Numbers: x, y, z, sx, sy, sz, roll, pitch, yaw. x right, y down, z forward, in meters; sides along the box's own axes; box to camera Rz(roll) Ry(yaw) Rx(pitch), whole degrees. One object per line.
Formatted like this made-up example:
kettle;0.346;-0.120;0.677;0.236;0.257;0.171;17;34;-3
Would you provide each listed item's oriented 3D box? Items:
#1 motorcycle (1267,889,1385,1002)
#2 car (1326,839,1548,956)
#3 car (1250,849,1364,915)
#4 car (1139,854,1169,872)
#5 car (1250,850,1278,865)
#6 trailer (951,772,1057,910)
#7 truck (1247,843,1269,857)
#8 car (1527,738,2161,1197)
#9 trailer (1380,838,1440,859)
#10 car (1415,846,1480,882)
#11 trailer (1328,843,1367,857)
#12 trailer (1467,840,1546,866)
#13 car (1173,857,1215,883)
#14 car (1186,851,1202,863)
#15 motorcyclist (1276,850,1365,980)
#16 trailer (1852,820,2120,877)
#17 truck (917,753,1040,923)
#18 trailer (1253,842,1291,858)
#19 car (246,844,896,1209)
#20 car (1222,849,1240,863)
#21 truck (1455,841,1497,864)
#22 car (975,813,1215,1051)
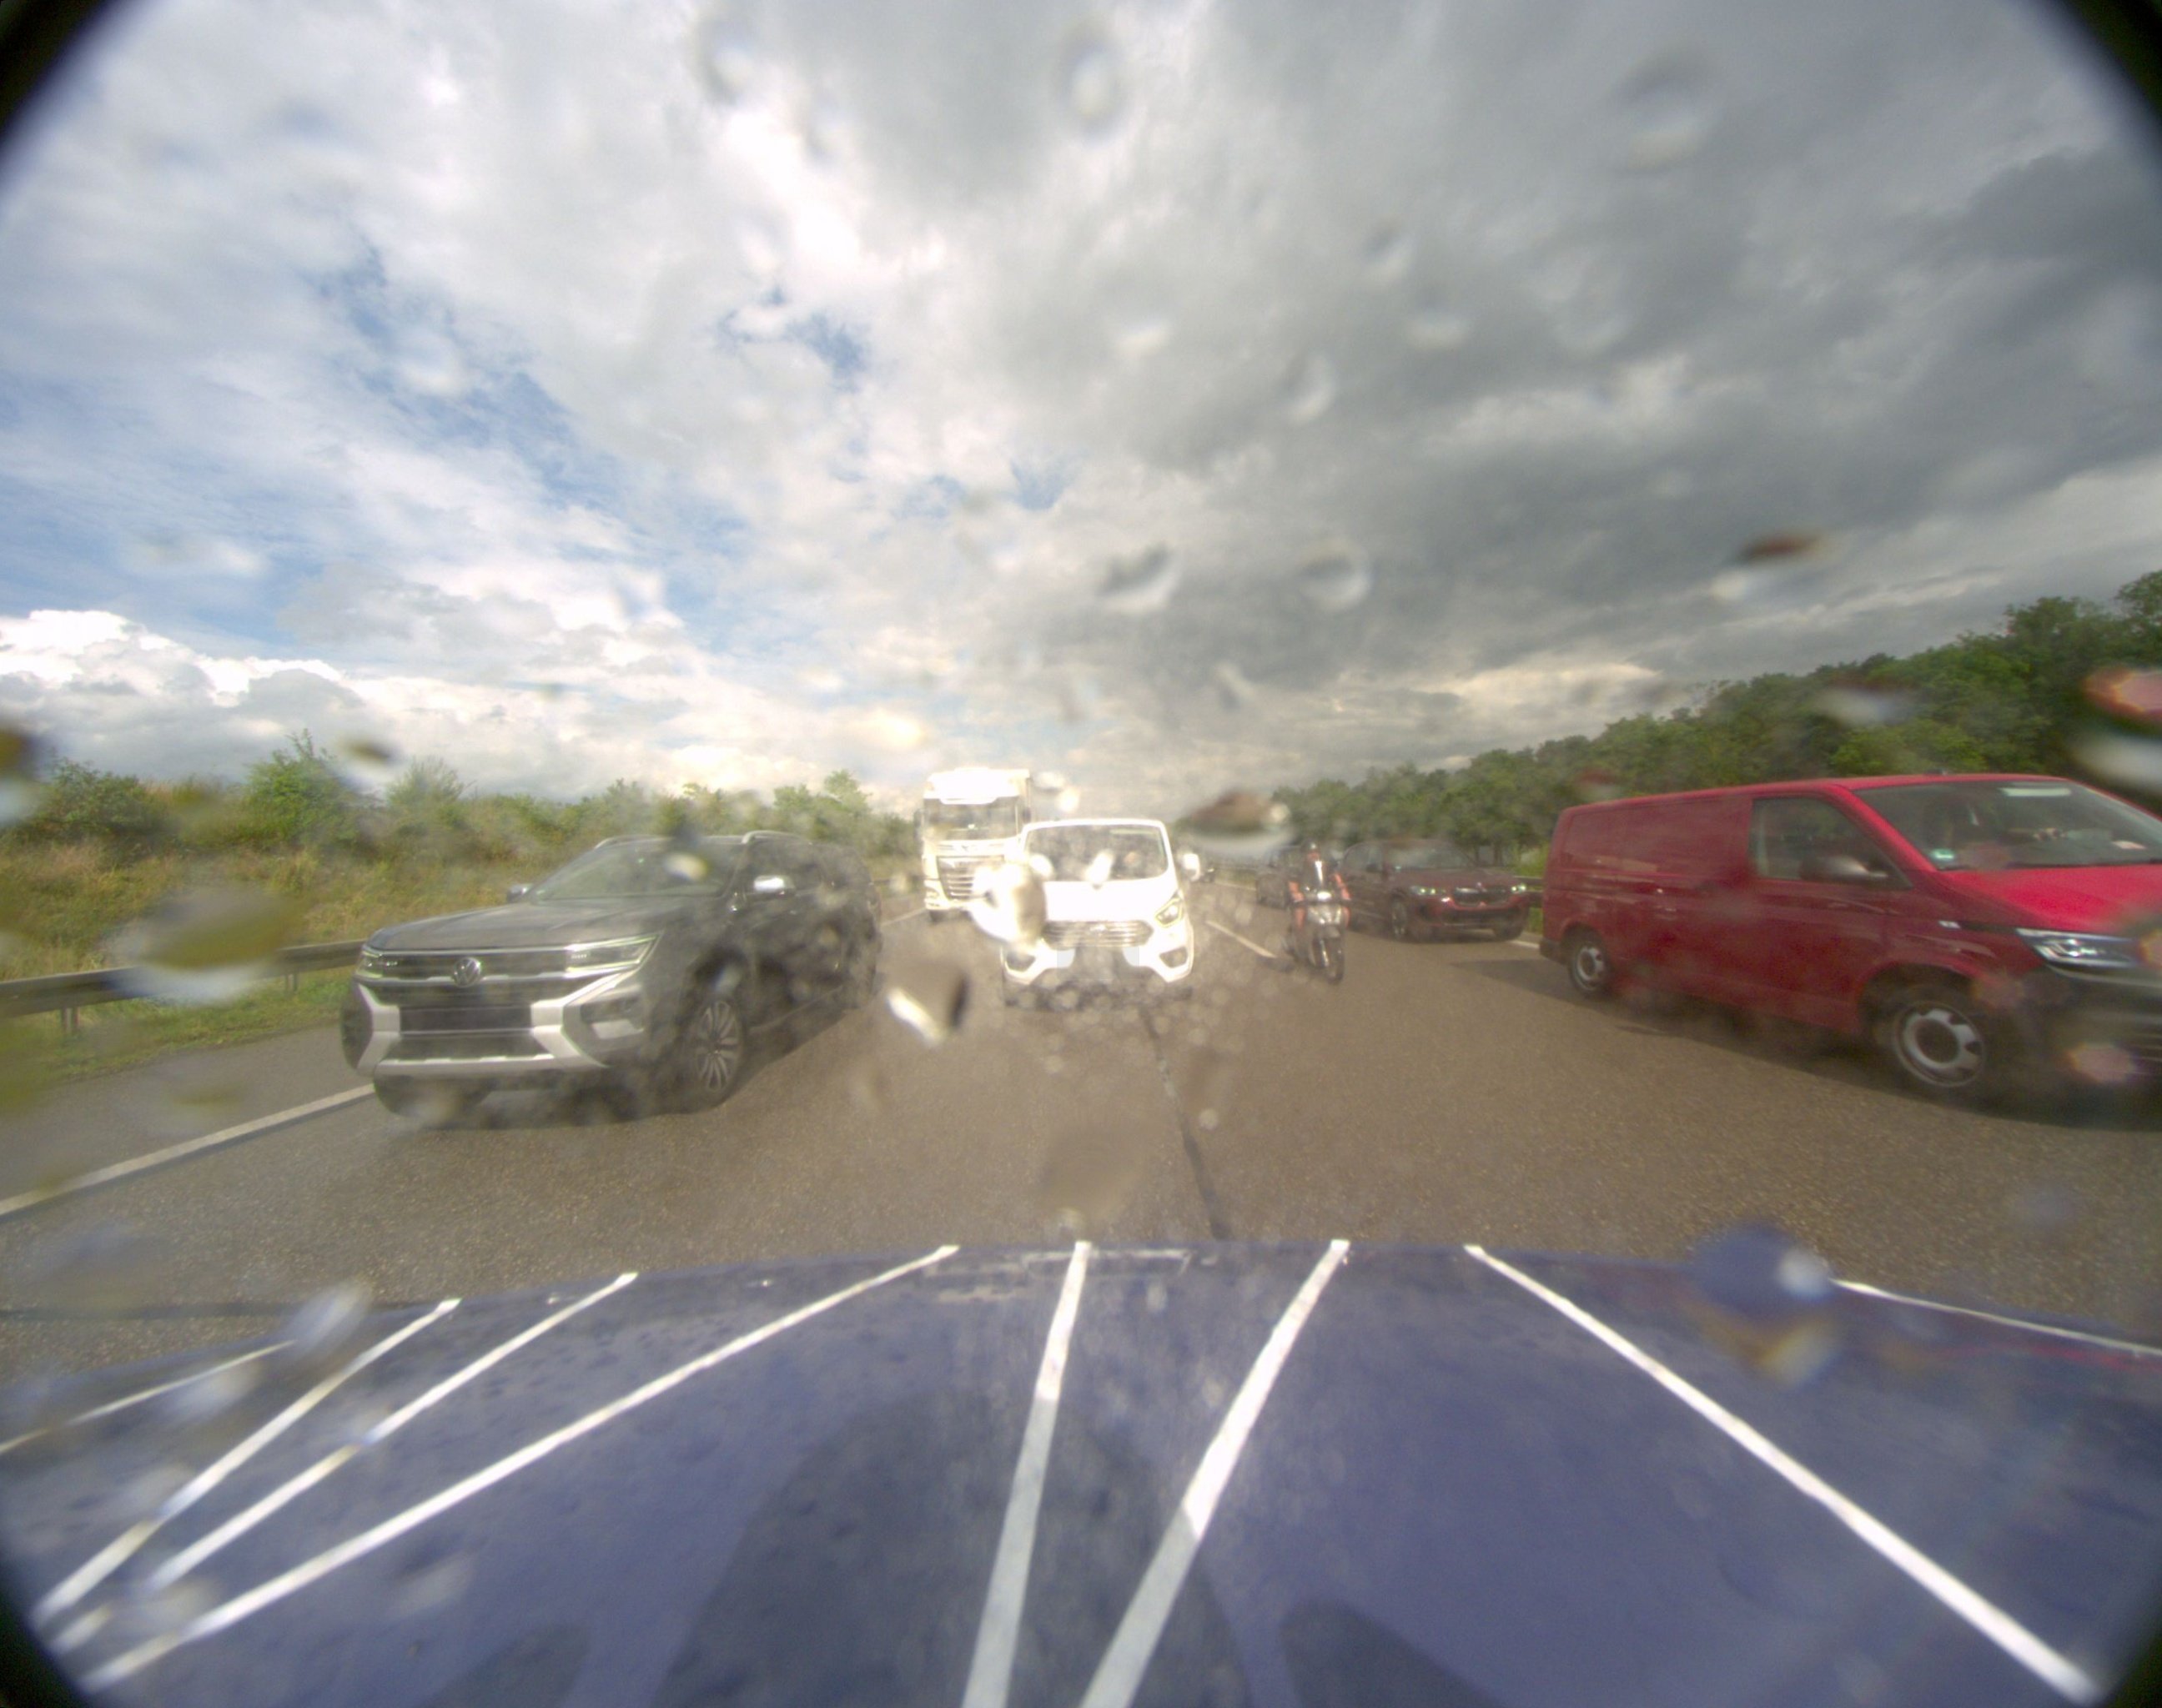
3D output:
motorcycle;2.856;1.020;9.078;0.677;1.080;1.981;-2;0;-2
car;5.895;0.629;13.252;1.895;1.660;4.295;-2;0;1
car;5.942;0.664;20.514;1.895;1.557;4.053;-2;0;1
car;5.462;0.646;57.526;1.888;1.228;4.506;-2;0;1
car;18.619;0.349;77.374;1.998;1.444;4.000;-1;0;1
trailer;-2.520;-0.436;29.082;2.451;4.095;12.216;-2;0;1
truck;42.902;-0.925;184.294;2.700;3.462;6.332;0;0;-13
car;5.616;0.459;5.581;1.895;1.973;4.750;-2;0;1
trailer;54.433;-0.893;126.419;3.085;3.252;13.402;0;0;-6
car;21.999;0.535;45.822;1.998;2.002;4.000;-2;1;1
trailer;51.385;-0.811;146.738;2.537;2.559;9.870;-2;1;-10
trailer;56.416;-0.215;101.361;3.192;3.252;12.645;0;0;-1
car;5.939;0.796;40.267;1.675;1.228;4.000;-2;0;1
car;19.583;0.452;131.568;1.999;2.002;3.999;0;0;-2
motorcyclist;2.837;0.688;9.090;0.672;1.433;1.019;-2;1;-2
trailer;56.540;-0.312;48.393;3.026;3.174;12.176;0;0;3
truck;-2.659;-0.384;21.302;2.460;4.079;5.333;-2;0;1
trailer;44.508;-0.904;177.364;2.707;3.492;13.405;0;0;-13
car;-3.199;0.862;6.461;1.831;1.793;5.305;-1;0;1
car;23.091;0.253;117.397;1.998;2.002;4.000;-2;1;1
truck;56.220;-0.265;108.258;3.182;3.236;5.390;0;1;-1
car;0.164;0.669;9.070;1.985;1.973;5.169;-2;0;1
